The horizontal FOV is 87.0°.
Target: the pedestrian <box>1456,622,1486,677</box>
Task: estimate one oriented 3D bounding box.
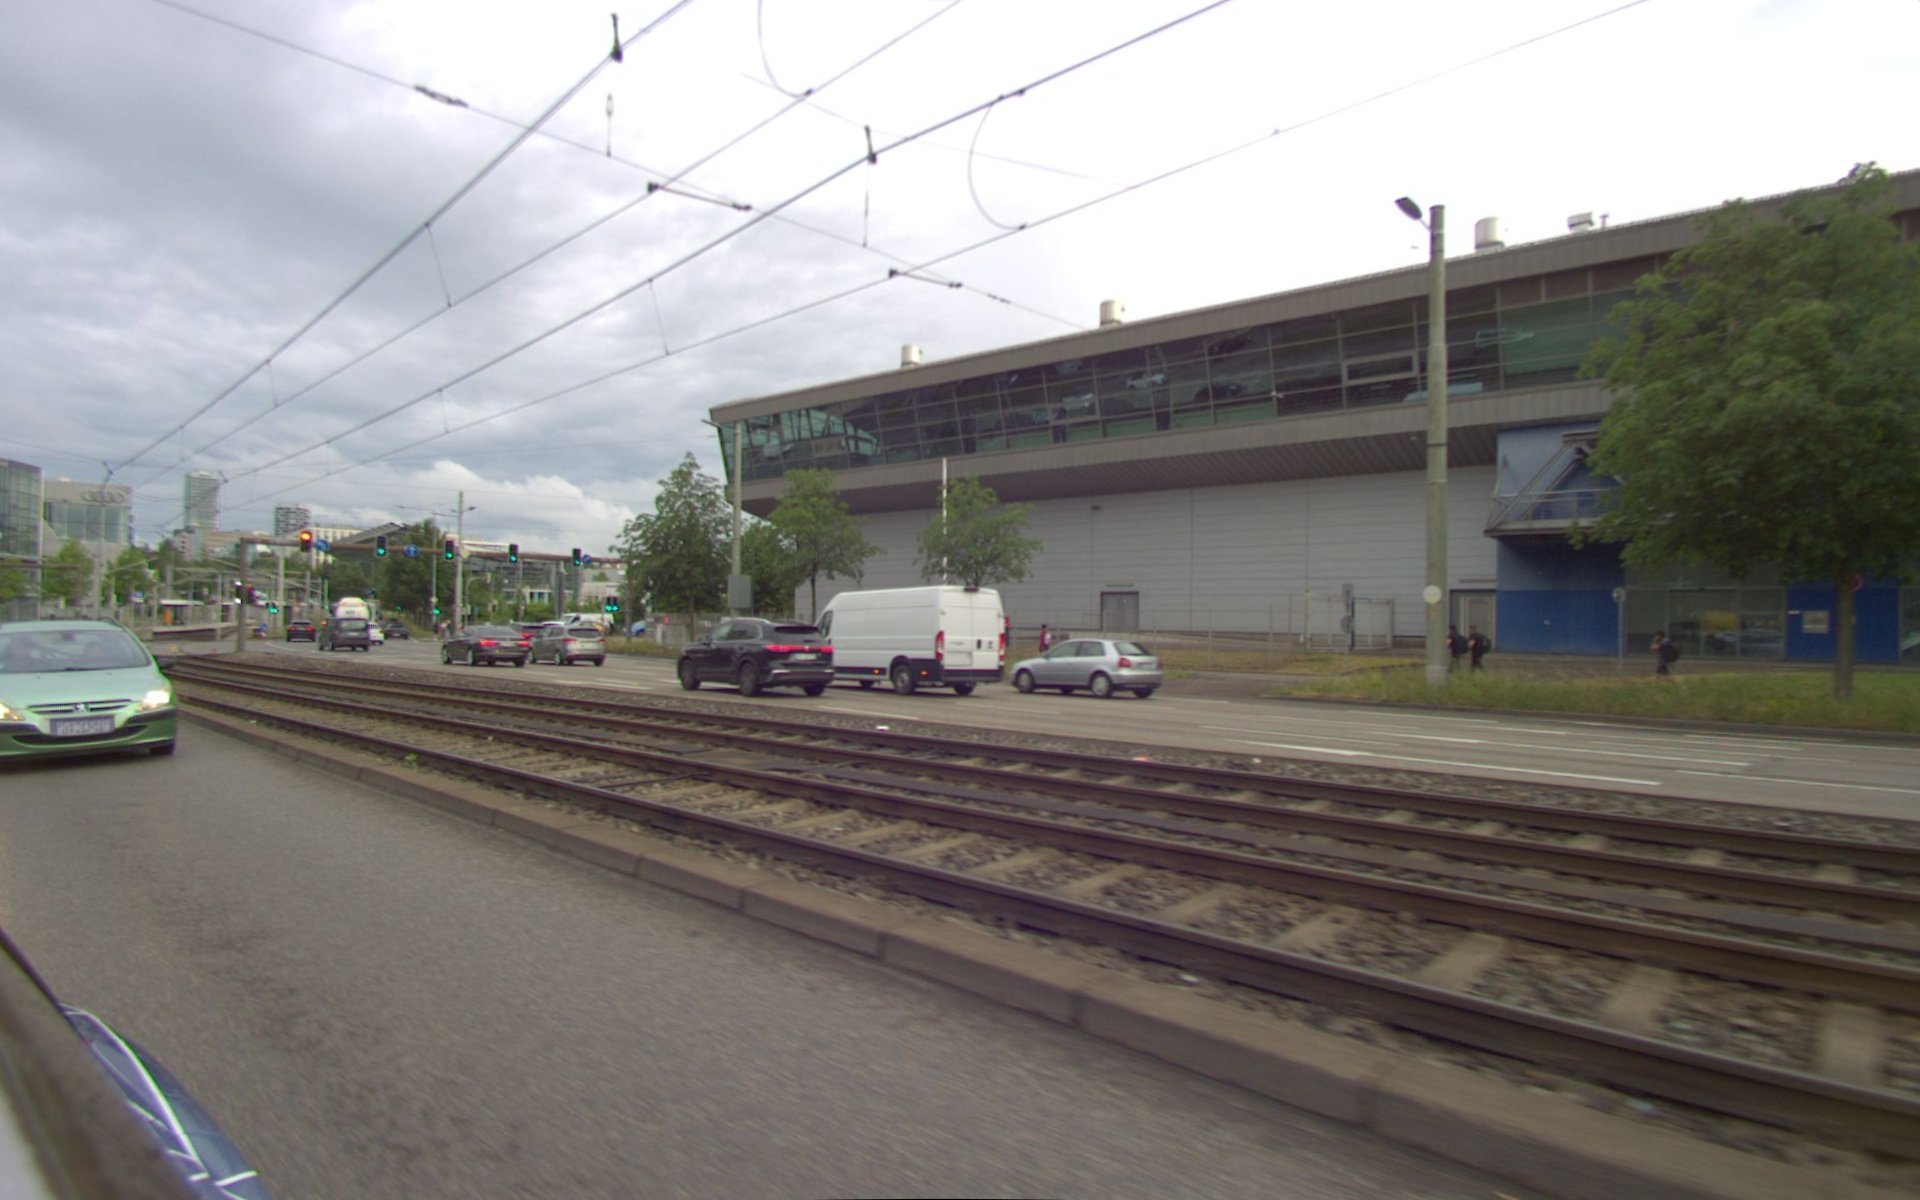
[{"bbox_3d":[14.061,1.354,27.838,0.651,1.467,0.507,-1,0,33],"label":"pedestrian"}]

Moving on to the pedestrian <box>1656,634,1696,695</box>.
[{"bbox_3d":[17.604,1.572,24.869,0.744,1.450,0.601,-1,0,39],"label":"pedestrian"}]

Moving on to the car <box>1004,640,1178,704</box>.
[{"bbox_3d":[3.098,1.722,24.554,1.727,1.410,4.004,5,-5,-43],"label":"car"}]

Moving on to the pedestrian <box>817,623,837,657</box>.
[{"bbox_3d":[-6.362,1.909,48.517,0.627,1.575,0.674,-1,0,44],"label":"pedestrian"}]

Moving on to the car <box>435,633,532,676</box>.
[{"bbox_3d":[-17.648,1.968,37.376,1.923,1.496,5.001,2,-3,-41],"label":"car"}]

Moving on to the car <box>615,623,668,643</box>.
[{"bbox_3d":[-28.206,2.969,89.642,1.909,1.729,4.202,-2,-3,36],"label":"car"}]

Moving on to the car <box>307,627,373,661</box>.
[{"bbox_3d":[-33.451,2.349,54.533,4.680,1.745,1.971,-2,-4,45],"label":"car"}]

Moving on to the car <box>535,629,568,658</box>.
[{"bbox_3d":[-27.093,2.861,67.107,1.784,1.839,3.883,1,-3,-25],"label":"car"}]

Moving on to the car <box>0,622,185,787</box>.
[{"bbox_3d":[-10.239,1.036,11.410,4.138,1.509,1.738,-1,0,44],"label":"car"}]

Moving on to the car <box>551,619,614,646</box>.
[{"bbox_3d":[-33.456,2.907,89.833,1.994,2.350,5.006,-1,-3,33],"label":"car"}]

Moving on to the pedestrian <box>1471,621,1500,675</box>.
[{"bbox_3d":[14.685,1.334,28.280,0.651,1.467,0.447,-1,0,33],"label":"pedestrian"}]

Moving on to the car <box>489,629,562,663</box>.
[{"bbox_3d":[-22.559,2.349,52.444,4.476,1.696,1.971,-2,-3,45],"label":"car"}]

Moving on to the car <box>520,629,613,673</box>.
[{"bbox_3d":[-15.788,2.015,40.487,1.917,1.684,4.512,3,-4,-43],"label":"car"}]

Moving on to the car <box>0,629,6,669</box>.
[{"bbox_3d":[-39.191,1.950,39.875,3.708,1.556,1.741,-1,0,38],"label":"car"}]

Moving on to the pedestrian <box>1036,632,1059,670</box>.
[{"bbox_3d":[3.597,2.091,41.676,0.542,1.509,0.759,-2,0,-44],"label":"pedestrian"}]

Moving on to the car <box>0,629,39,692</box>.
[{"bbox_3d":[-25.974,1.612,27.123,1.736,1.556,3.720,-2,0,-41],"label":"car"}]

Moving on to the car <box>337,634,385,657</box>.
[{"bbox_3d":[-39.045,2.975,65.929,1.774,1.457,3.926,2,-3,-44],"label":"car"}]

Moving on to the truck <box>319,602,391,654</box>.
[{"bbox_3d":[-48.151,2.264,80.342,4.025,3.785,10.879,2,-3,-35],"label":"truck"}]

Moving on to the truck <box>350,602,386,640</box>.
[{"bbox_3d":[-72.286,2.605,123.671,3.213,4.564,7.114,1,-2,-26],"label":"truck"}]

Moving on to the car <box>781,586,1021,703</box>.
[{"bbox_3d":[-1.646,1.097,24.990,2.402,2.519,6.557,3,-4,-41],"label":"car"}]

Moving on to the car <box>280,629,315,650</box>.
[{"bbox_3d":[-51.209,3.039,78.173,1.793,1.586,4.007,2,-3,-39],"label":"car"}]

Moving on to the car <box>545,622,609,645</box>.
[{"bbox_3d":[-31.863,2.806,84.238,1.997,1.849,4.605,-2,-3,37],"label":"car"}]

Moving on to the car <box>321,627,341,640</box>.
[{"bbox_3d":[-76.596,4.051,123.259,1.786,1.586,4.012,1,-2,-28],"label":"car"}]

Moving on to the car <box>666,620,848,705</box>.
[{"bbox_3d":[-4.518,1.343,22.118,1.886,1.669,4.365,4,-4,-43],"label":"car"}]
